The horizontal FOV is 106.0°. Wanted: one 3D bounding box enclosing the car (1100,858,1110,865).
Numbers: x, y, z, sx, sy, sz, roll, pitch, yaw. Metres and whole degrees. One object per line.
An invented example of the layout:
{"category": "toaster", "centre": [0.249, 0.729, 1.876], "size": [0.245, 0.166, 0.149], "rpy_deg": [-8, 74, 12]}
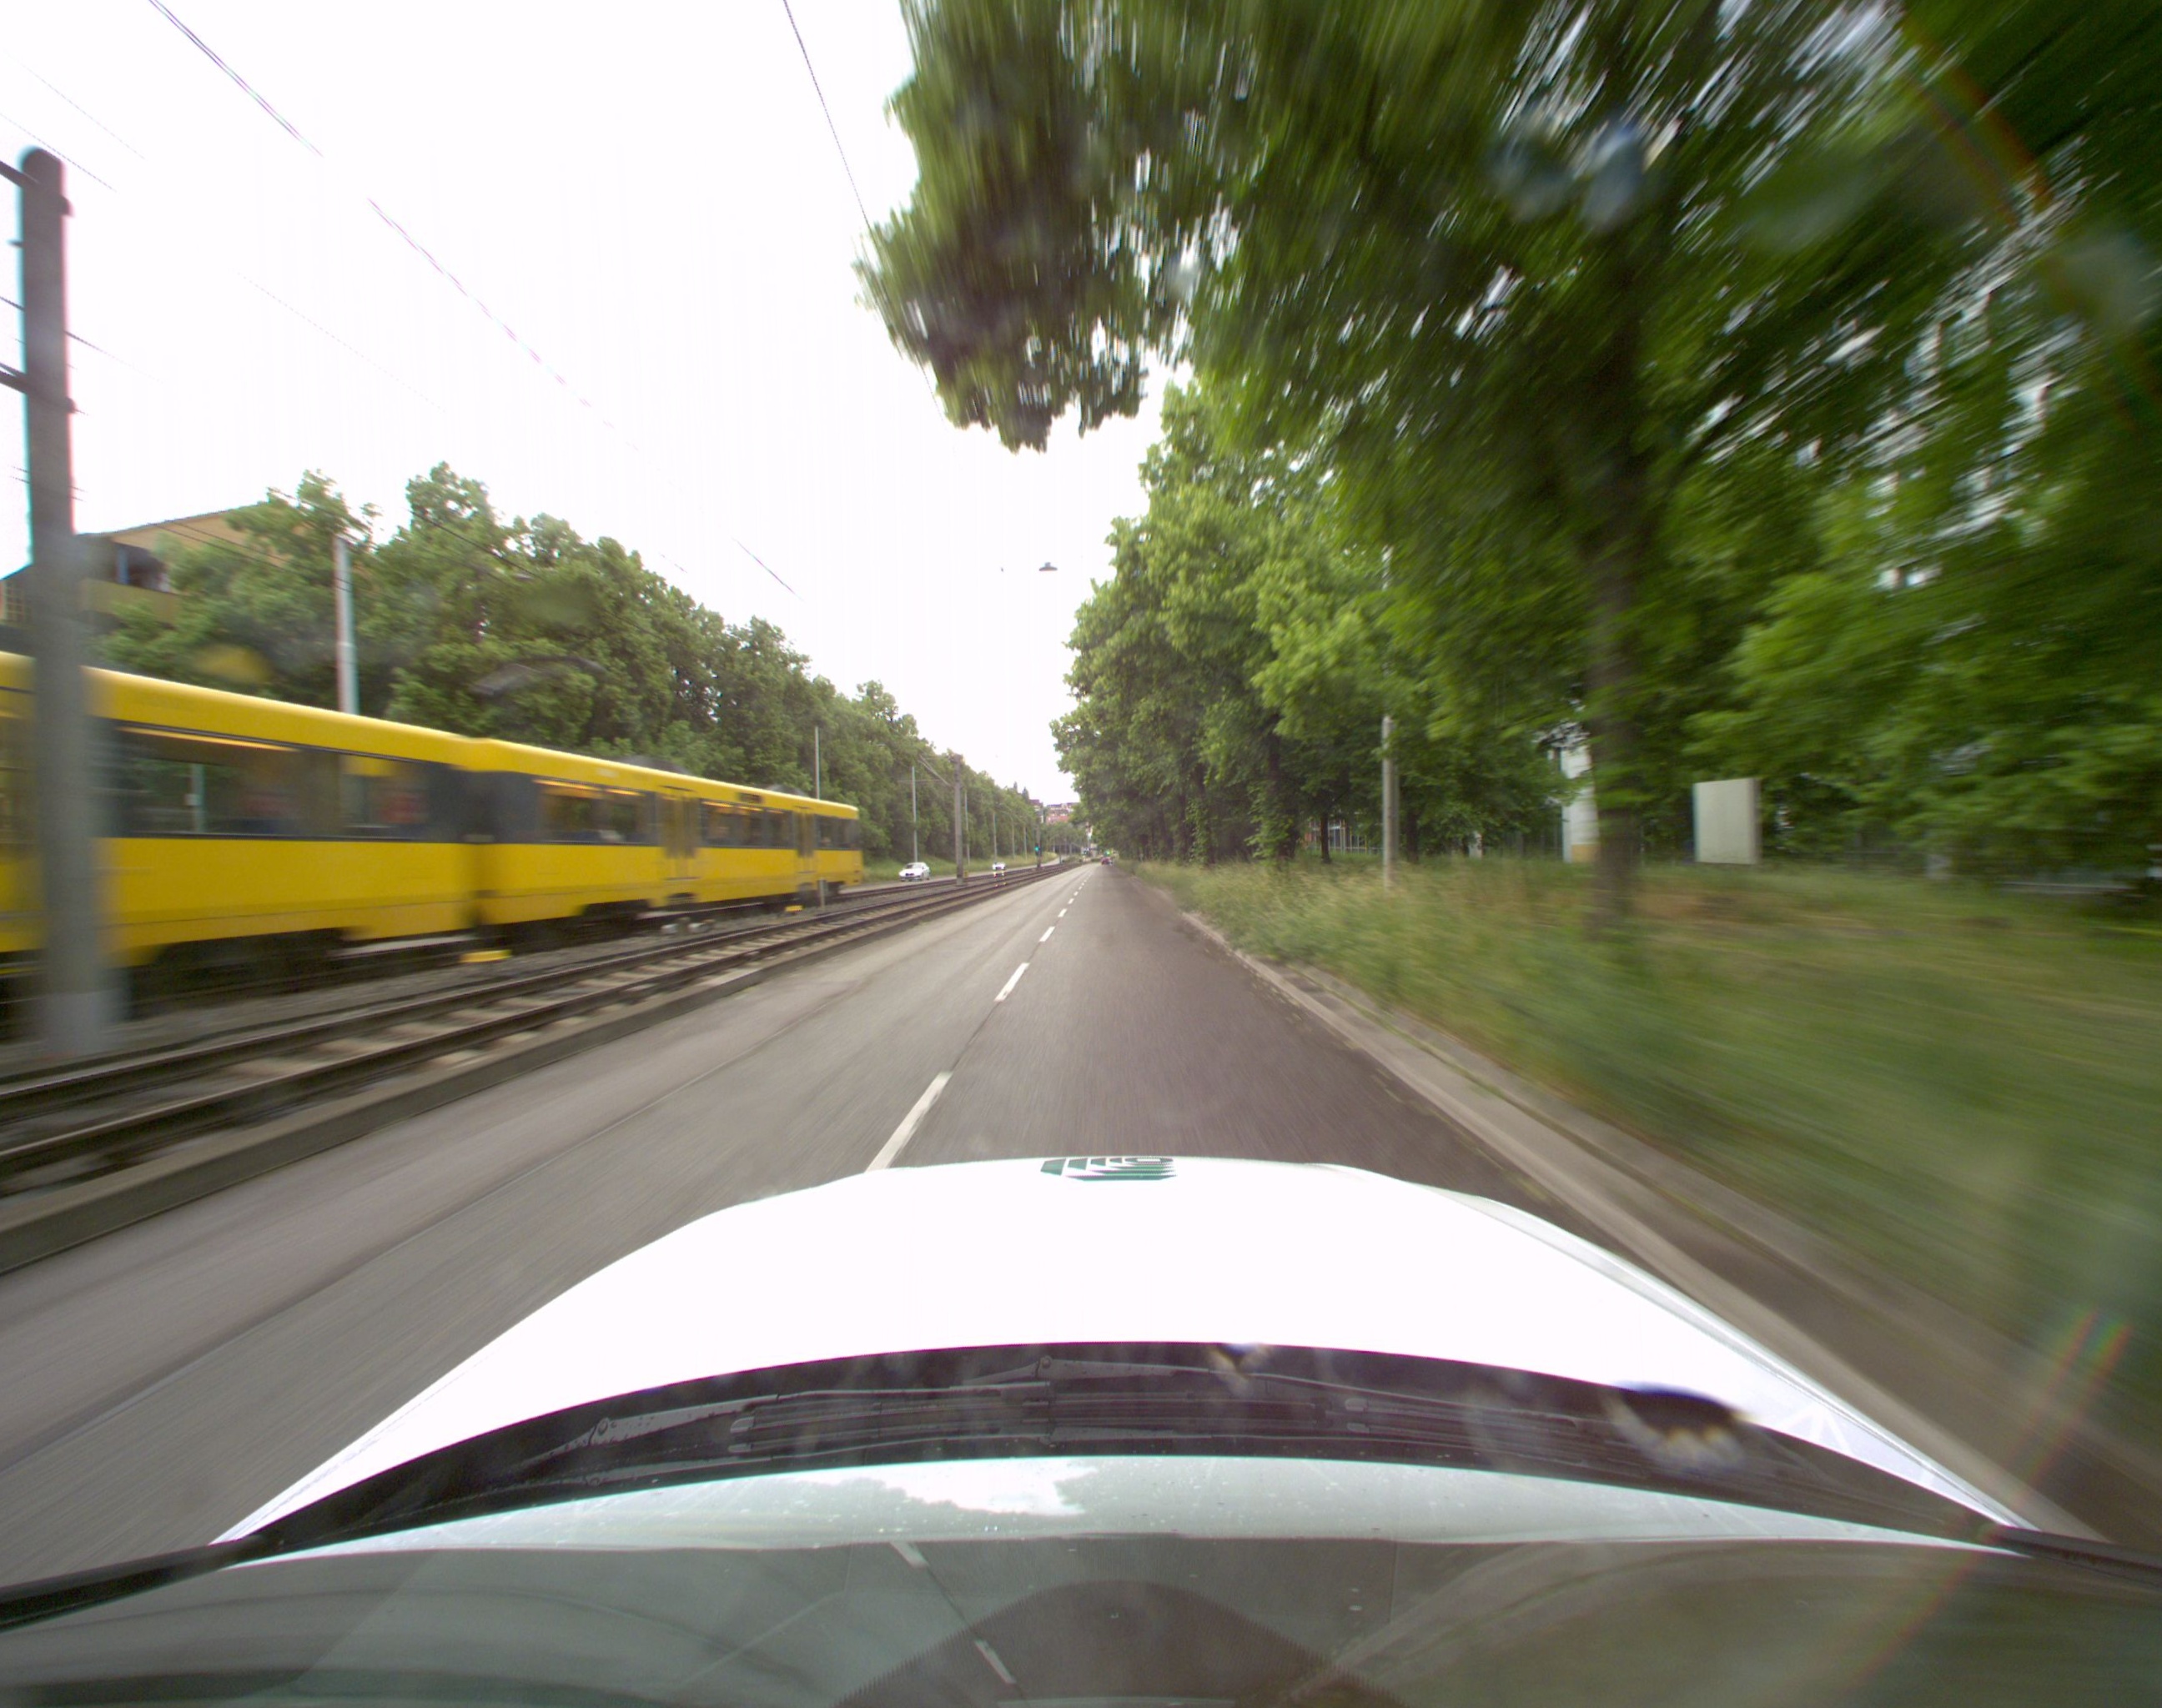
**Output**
{"category": "car", "centre": [5.376, 1.587, 179.560], "size": [2.186, 1.329, 4.001], "rpy_deg": [-1, 1, 1]}

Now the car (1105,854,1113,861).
{"category": "car", "centre": [7.064, 0.931, 202.904], "size": [1.986, 1.651, 4.002], "rpy_deg": [-1, 0, 2]}

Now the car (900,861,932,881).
{"category": "car", "centre": [-13.948, 1.393, 69.046], "size": [1.646, 1.529, 4.383], "rpy_deg": [-2, 0, 2]}

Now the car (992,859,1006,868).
{"category": "car", "centre": [-12.746, 1.465, 126.784], "size": [1.470, 1.436, 3.911], "rpy_deg": [-3, 0, 2]}

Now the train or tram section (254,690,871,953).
{"category": "train or tram section", "centre": [-10.184, -0.543, 21.757], "size": [2.955, 3.810, 19.536], "rpy_deg": [-1, 0, 3]}

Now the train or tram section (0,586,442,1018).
{"category": "train or tram section", "centre": [-11.272, -0.393, 2.278], "size": [2.955, 3.810, 19.114], "rpy_deg": [-1, 0, 3]}
